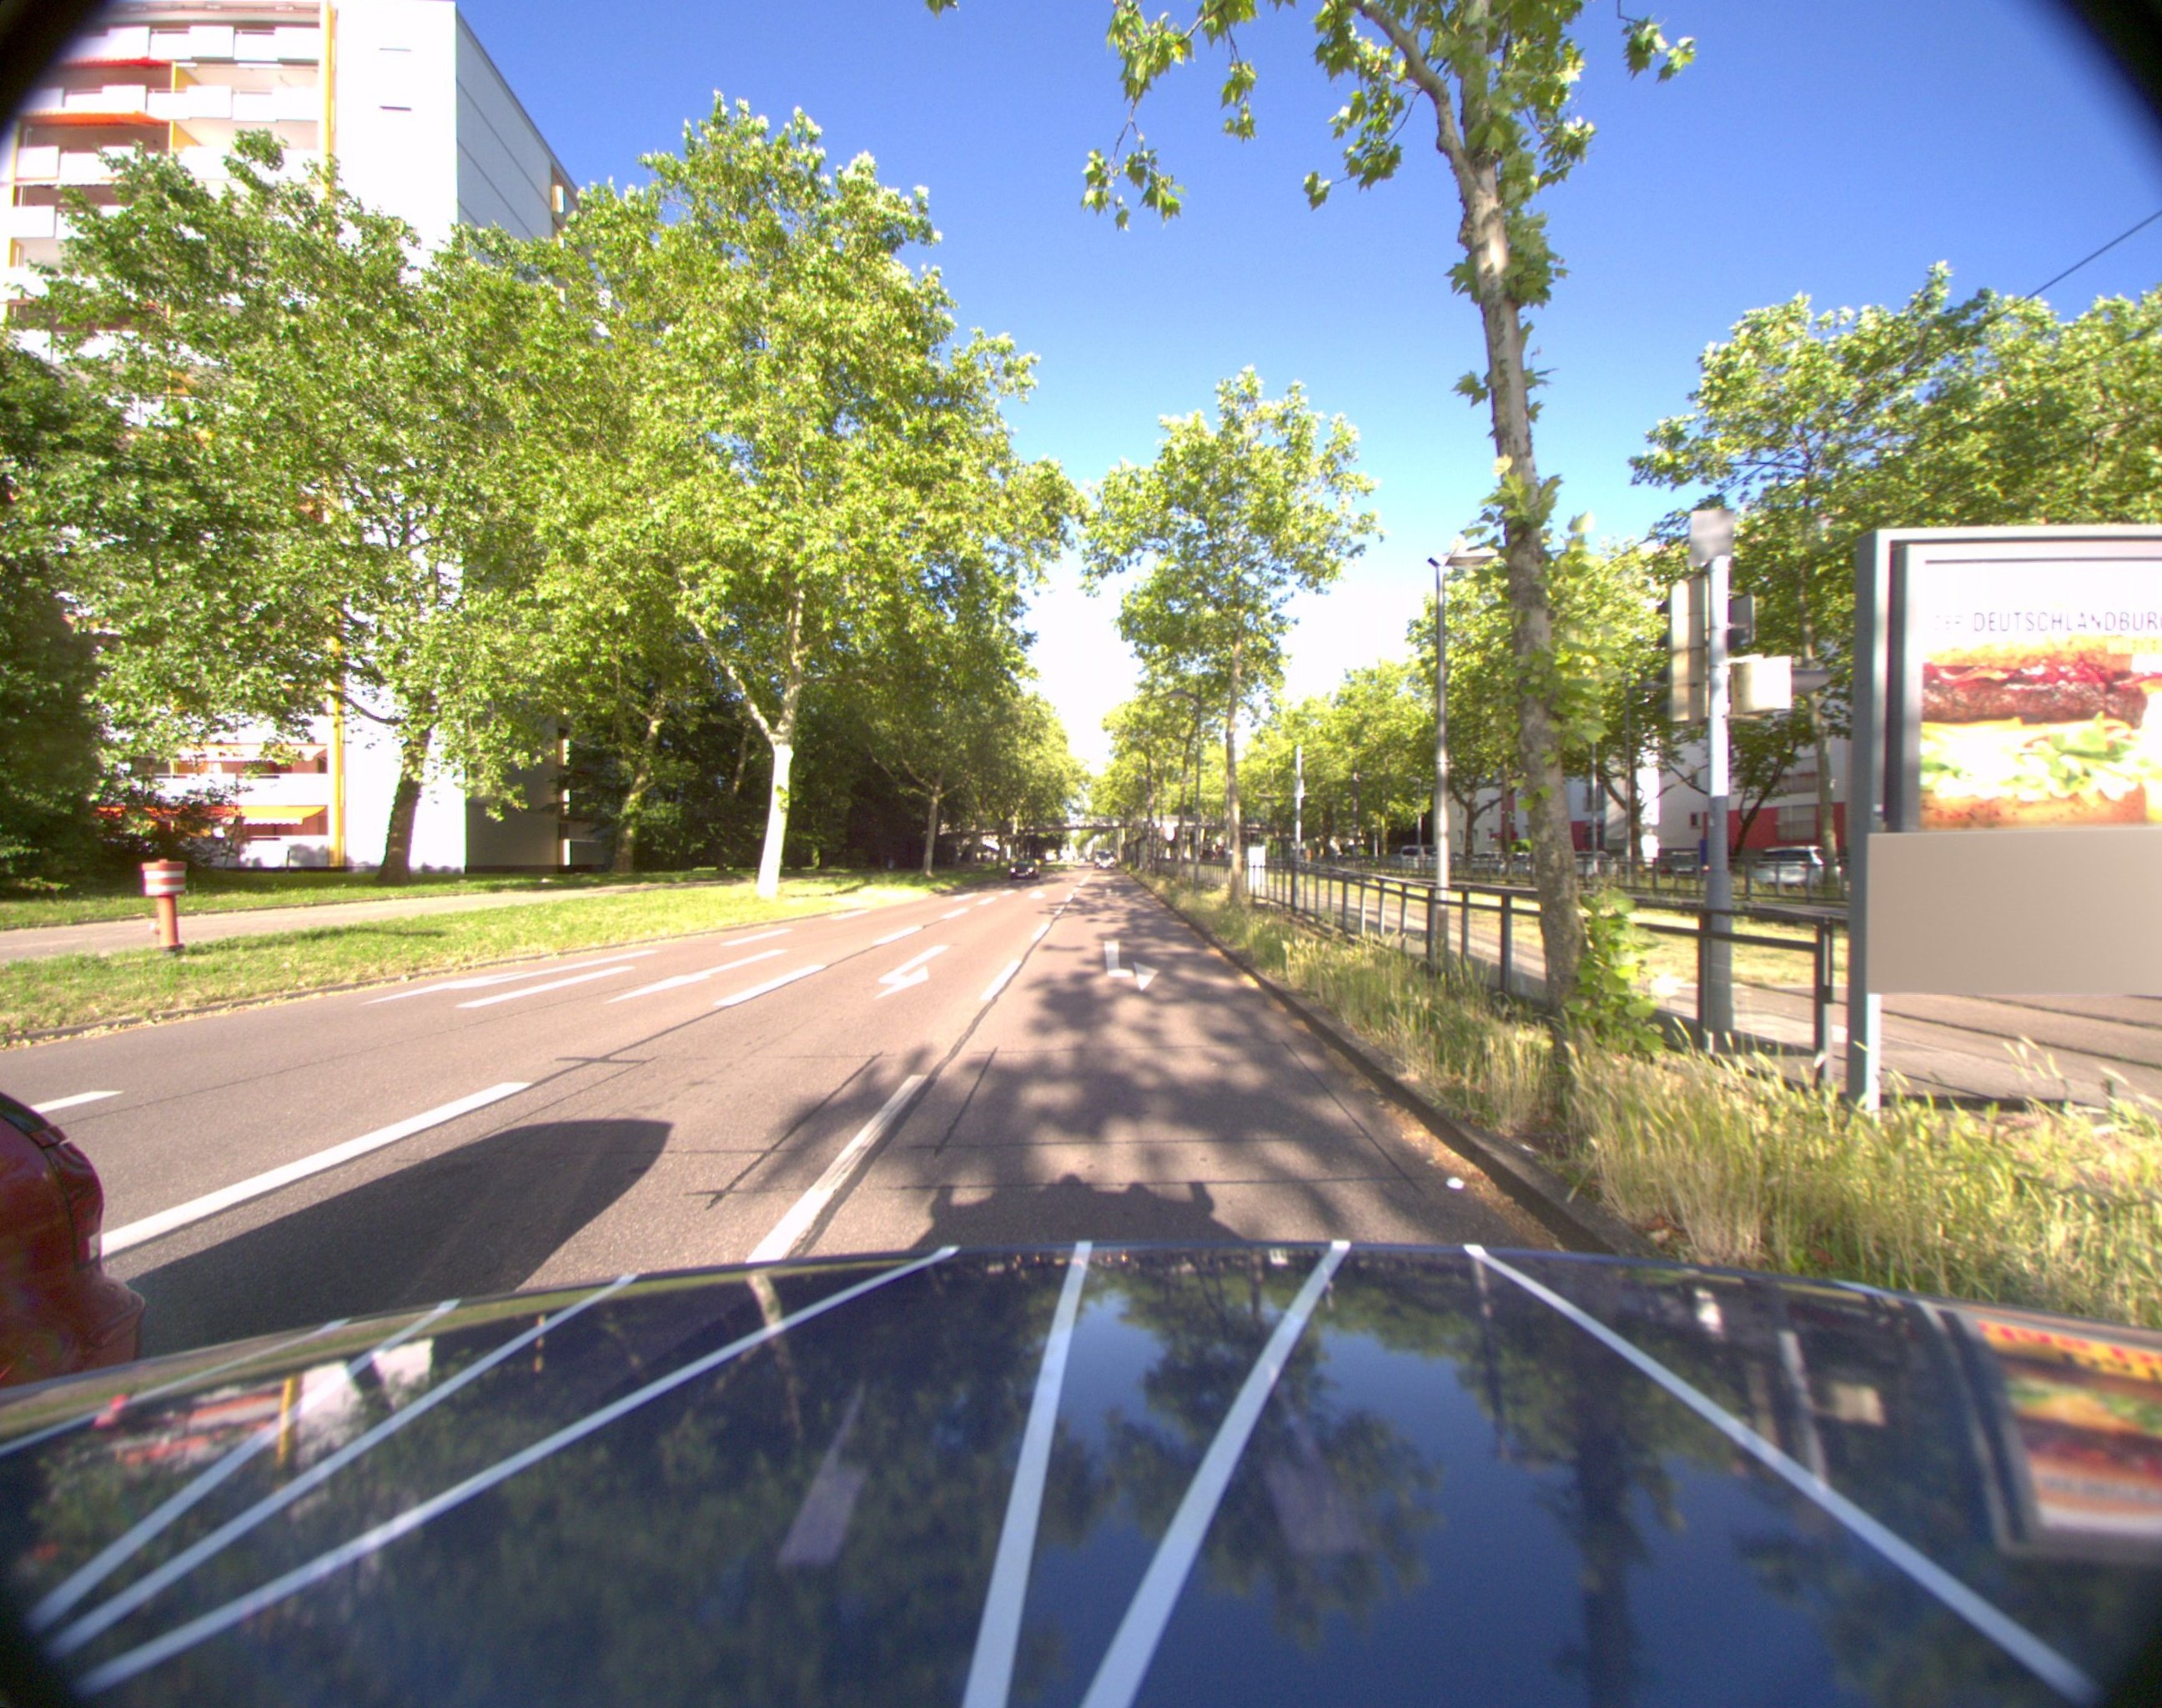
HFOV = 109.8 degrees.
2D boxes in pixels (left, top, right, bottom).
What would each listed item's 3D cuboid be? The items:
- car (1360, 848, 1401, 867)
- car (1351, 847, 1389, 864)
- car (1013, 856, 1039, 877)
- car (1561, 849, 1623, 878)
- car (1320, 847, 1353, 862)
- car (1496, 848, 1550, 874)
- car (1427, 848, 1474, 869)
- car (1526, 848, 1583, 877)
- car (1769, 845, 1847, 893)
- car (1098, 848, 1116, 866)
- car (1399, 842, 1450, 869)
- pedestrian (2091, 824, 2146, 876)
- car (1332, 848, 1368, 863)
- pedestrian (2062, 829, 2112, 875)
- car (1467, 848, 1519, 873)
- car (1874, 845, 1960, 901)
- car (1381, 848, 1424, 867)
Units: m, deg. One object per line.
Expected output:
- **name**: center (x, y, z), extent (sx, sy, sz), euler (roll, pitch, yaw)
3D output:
- **car**: center (24.953, 0.275, 63.206), extent (3.811, 1.433, 1.652), euler (-2, 0, -42)
- **car**: center (26.655, 0.138, 70.101), extent (3.811, 1.433, 1.652), euler (-2, 0, -42)
- **car**: center (-3.819, 0.852, 53.212), extent (1.580, 1.395, 3.638), euler (-2, 0, 0)
- **car**: center (25.390, 0.450, 37.695), extent (3.811, 1.348, 1.652), euler (-2, 0, -42)
- **car**: center (26.796, 0.049, 79.622), extent (3.811, 1.433, 1.652), euler (-2, 0, -42)
- **car**: center (26.107, 0.409, 44.861), extent (3.811, 1.433, 1.652), euler (-2, 0, -42)
- **car**: center (26.311, 0.313, 54.029), extent (3.811, 1.433, 1.652), euler (-2, 0, -42)
- **car**: center (25.871, 0.445, 41.476), extent (3.811, 1.433, 1.652), euler (-2, 0, -42)
- **car**: center (25.365, 0.491, 26.472), extent (3.811, 1.501, 1.652), euler (-2, 0, -42)
- **car**: center (2.884, 0.298, 83.970), extent (1.906, 1.924, 4.720), euler (-2, 0, 2)
- **car**: center (25.827, 0.092, 57.027), extent (4.330, 1.863, 1.836), euler (-2, 0, -42)
- **pedestrian**: center (35.168, -0.133, 25.763), extent (0.764, 1.723, 0.786), euler (-2, 1, -1)
- **car**: center (26.076, 0.137, 73.562), extent (3.811, 1.433, 1.652), euler (-2, 0, -42)
- **pedestrian**: center (36.770, -0.080, 27.781), extent (0.764, 1.614, 0.786), euler (-2, 1, -1)
- **car**: center (25.860, 0.400, 47.676), extent (3.811, 1.433, 1.652), euler (-2, 0, -42)
- **car**: center (25.251, 0.526, 22.964), extent (3.811, 1.501, 1.652), euler (-2, 0, -42)
- **car**: center (25.739, 0.272, 60.749), extent (3.811, 1.433, 1.652), euler (-2, 0, -42)
